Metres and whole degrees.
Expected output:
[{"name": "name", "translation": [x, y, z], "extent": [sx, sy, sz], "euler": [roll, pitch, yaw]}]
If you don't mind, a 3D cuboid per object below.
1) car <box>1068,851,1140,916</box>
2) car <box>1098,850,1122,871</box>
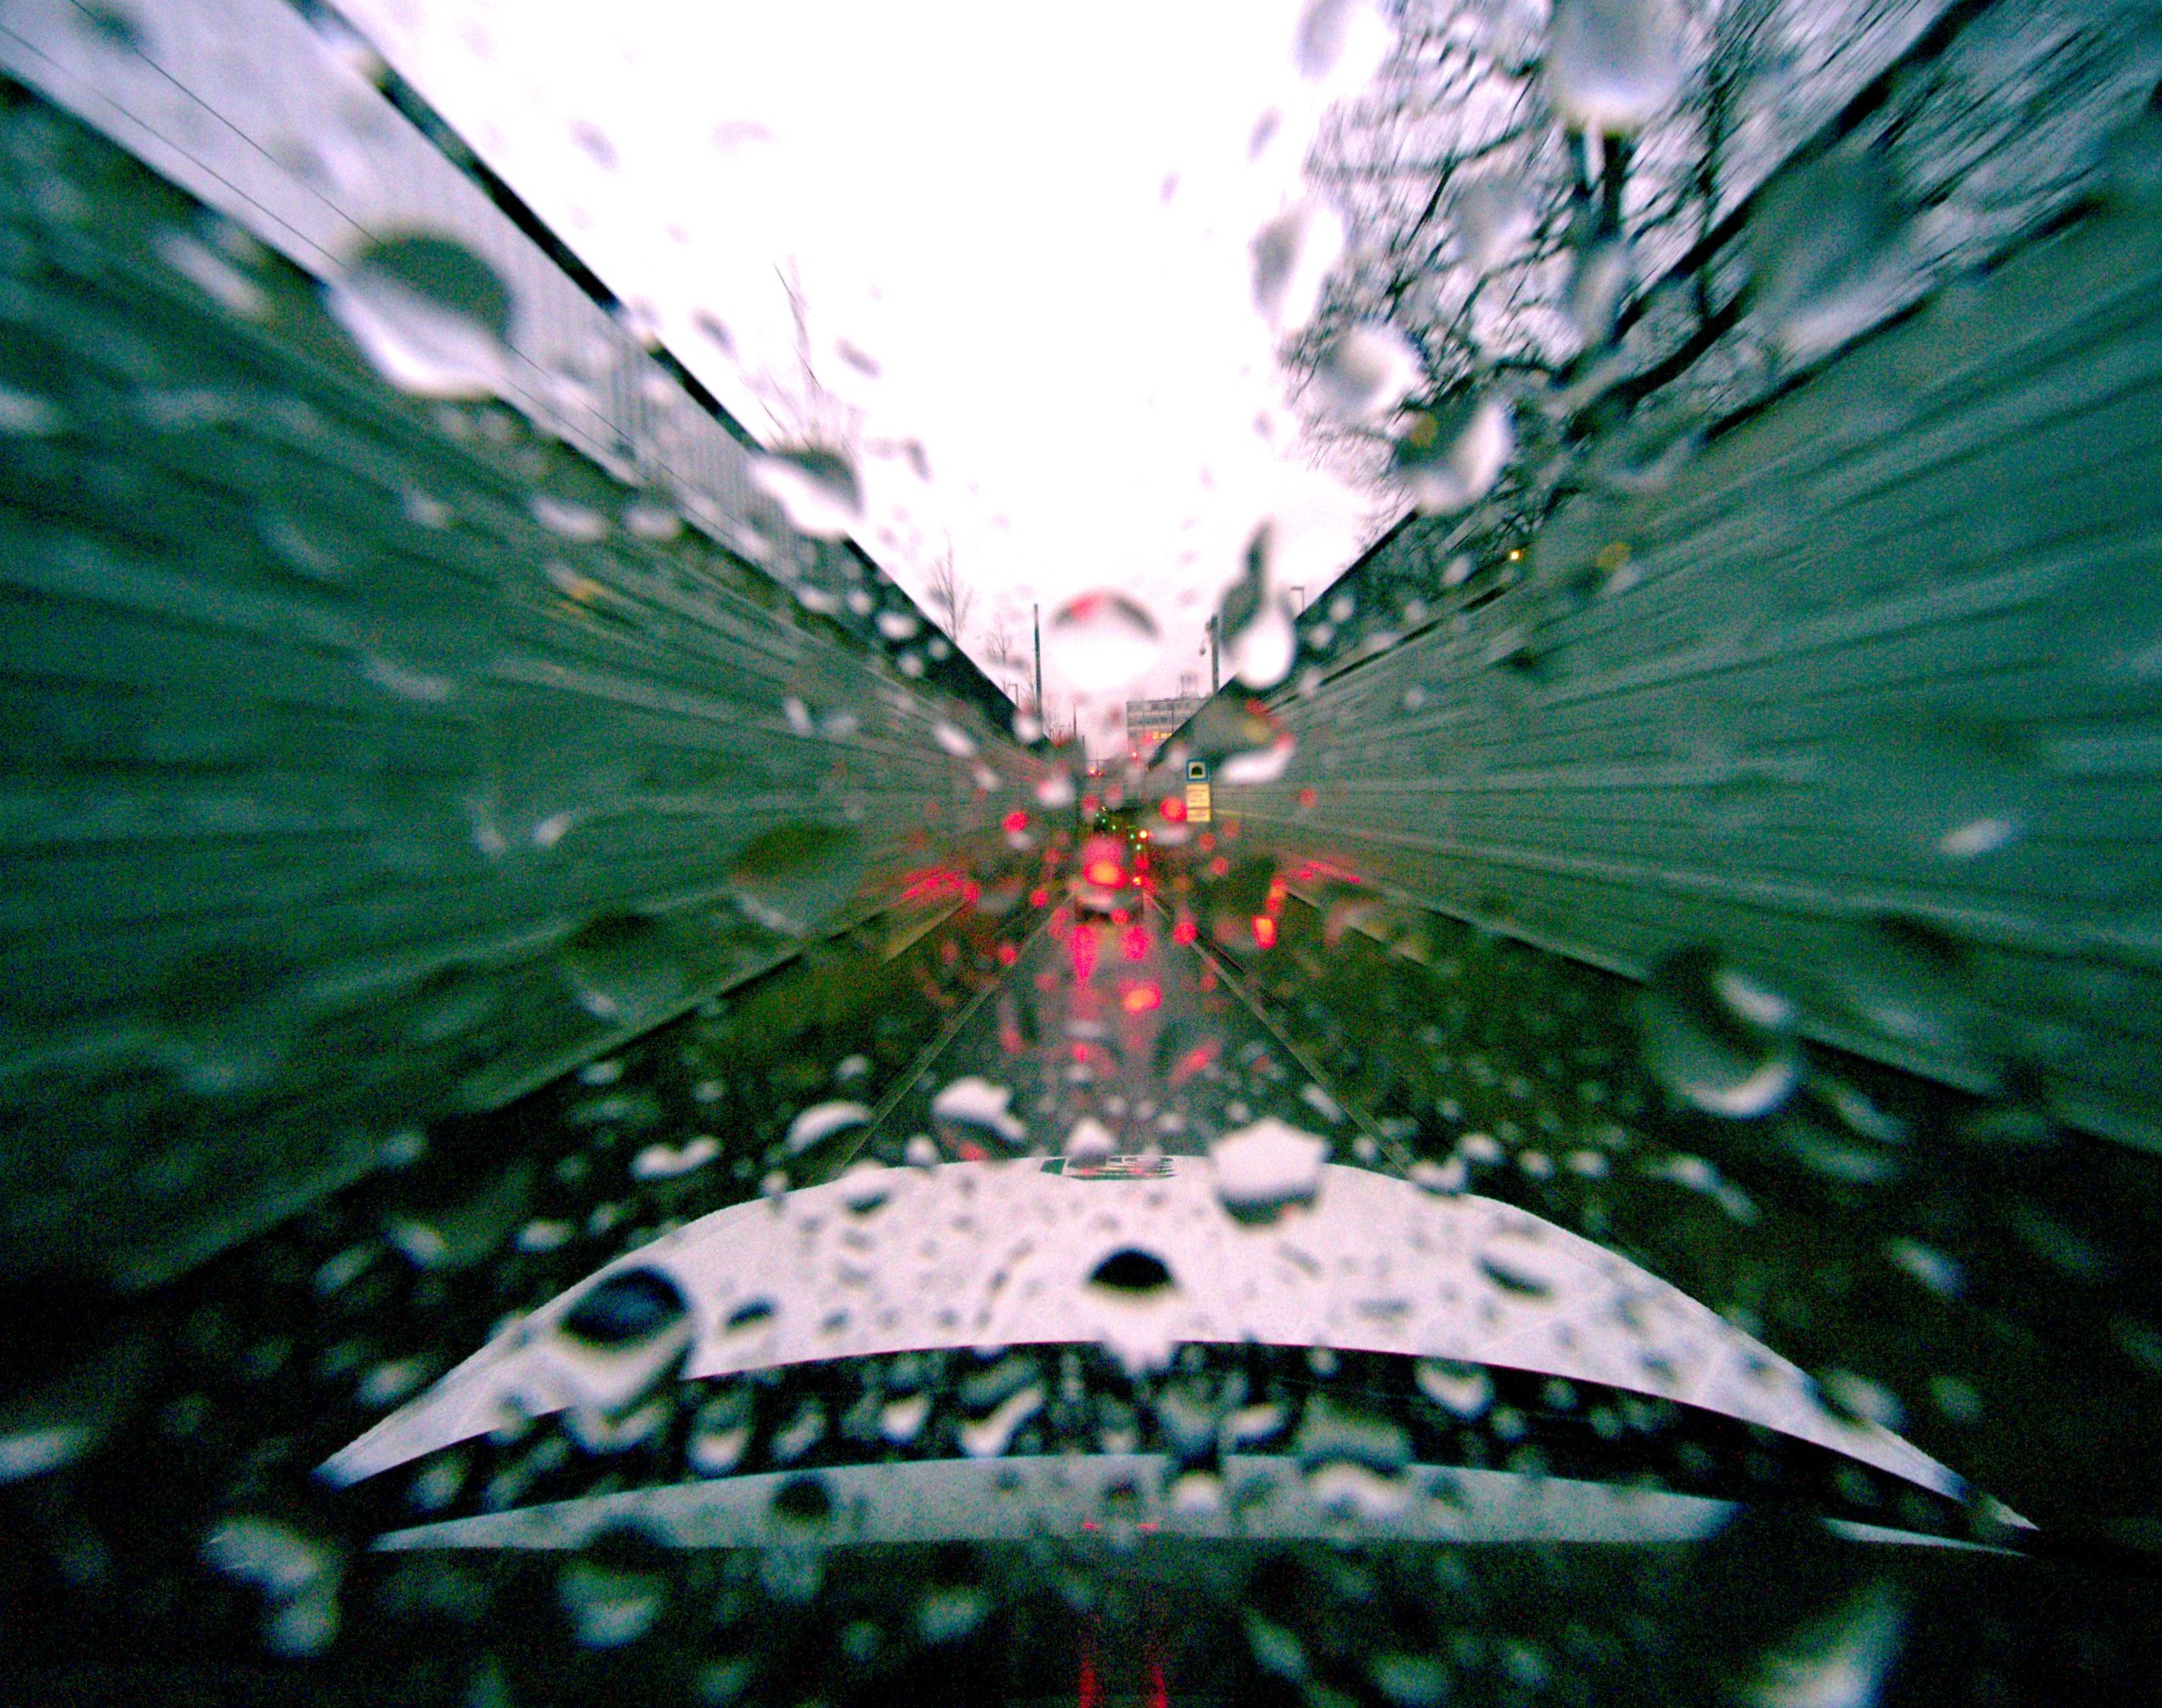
[{"name": "car", "translation": [0.663, 0.703, 21.423], "extent": [1.715, 1.479, 4.004], "euler": [0, 1, 3]}, {"name": "car", "translation": [2.383, 0.532, 67.274], "extent": [1.913, 1.485, 4.002], "euler": [0, 3, 1]}]
